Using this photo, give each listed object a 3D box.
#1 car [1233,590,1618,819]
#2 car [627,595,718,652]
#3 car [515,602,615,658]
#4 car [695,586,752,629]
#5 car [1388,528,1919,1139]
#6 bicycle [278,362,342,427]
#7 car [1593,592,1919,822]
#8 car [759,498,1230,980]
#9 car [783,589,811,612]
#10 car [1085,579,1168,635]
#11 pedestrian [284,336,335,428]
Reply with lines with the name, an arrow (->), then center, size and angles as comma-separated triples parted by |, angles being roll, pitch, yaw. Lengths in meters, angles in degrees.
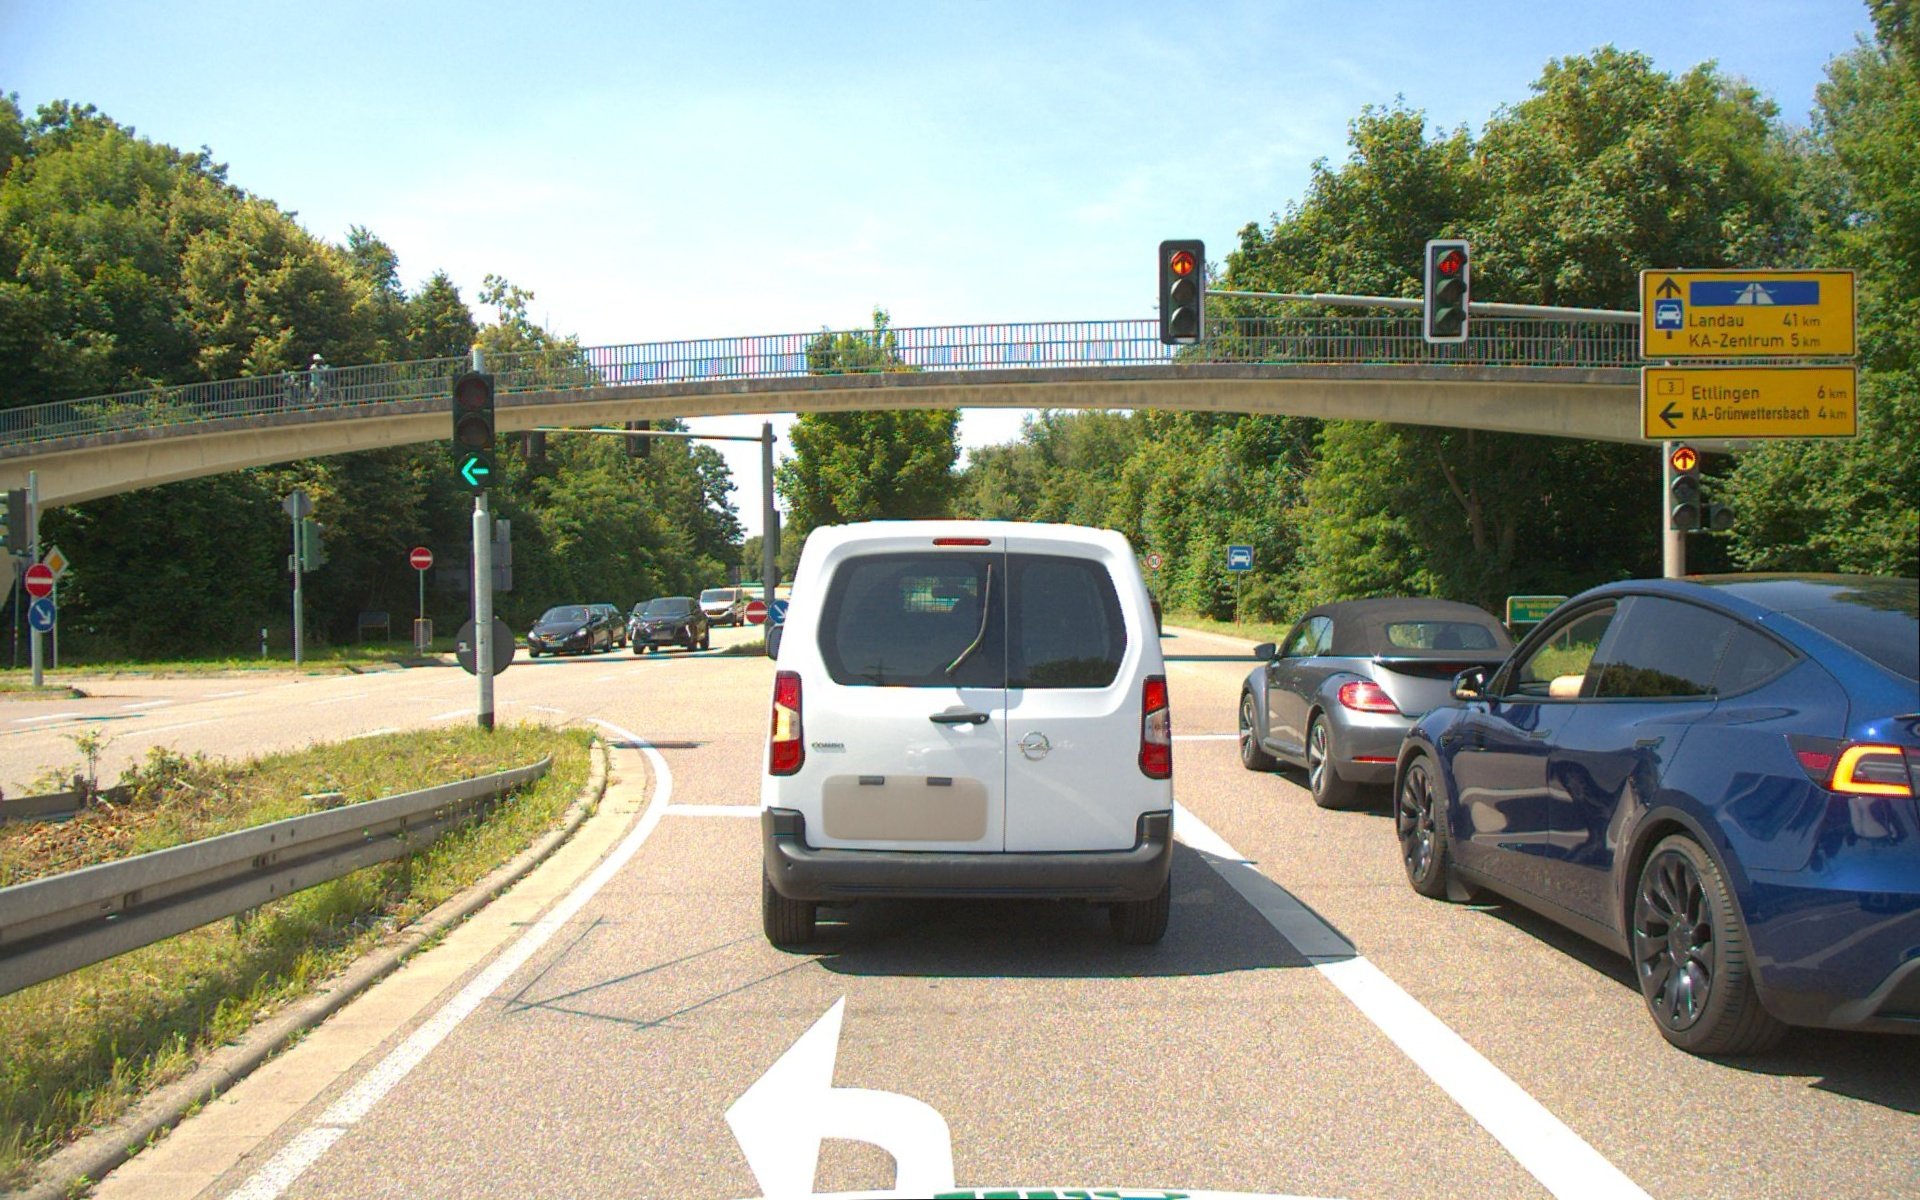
car -> 3.438, 0.687, 13.019 | 1.862, 1.503, 3.938 | 1, 0, -1
car -> -8.180, 0.637, 47.409 | 1.953, 1.550, 4.027 | 0, 0, -1
car -> -11.603, 0.862, 48.835 | 1.967, 1.486, 4.054 | -2, 0, -1
car -> -12.108, 0.367, 85.109 | 2.163, 2.028, 5.487 | -2, 0, -1
car -> 3.319, 0.638, 6.814 | 1.862, 1.673, 4.519 | 1, 0, -1
bicycle -> -16.514, -5.214, 42.024 | 1.494, 1.500, 0.470 | -3, -2, 15
car -> 6.822, 0.709, 13.126 | 1.862, 1.503, 4.379 | 1, 0, -1
car -> 0.079, 0.513, 8.424 | 1.812, 1.857, 3.980 | 1, 1, -2
car -> -15.125, 0.072, 153.380 | 2.163, 2.028, 4.733 | -2, 0, -1
car -> 5.388, 0.198, 54.124 | 2.001, 1.728, 5.084 | 0, 0, -2
pedestrian -> -16.642, -5.558, 42.315 | 0.765, 2.177, 0.932 | -3, -2, 15
